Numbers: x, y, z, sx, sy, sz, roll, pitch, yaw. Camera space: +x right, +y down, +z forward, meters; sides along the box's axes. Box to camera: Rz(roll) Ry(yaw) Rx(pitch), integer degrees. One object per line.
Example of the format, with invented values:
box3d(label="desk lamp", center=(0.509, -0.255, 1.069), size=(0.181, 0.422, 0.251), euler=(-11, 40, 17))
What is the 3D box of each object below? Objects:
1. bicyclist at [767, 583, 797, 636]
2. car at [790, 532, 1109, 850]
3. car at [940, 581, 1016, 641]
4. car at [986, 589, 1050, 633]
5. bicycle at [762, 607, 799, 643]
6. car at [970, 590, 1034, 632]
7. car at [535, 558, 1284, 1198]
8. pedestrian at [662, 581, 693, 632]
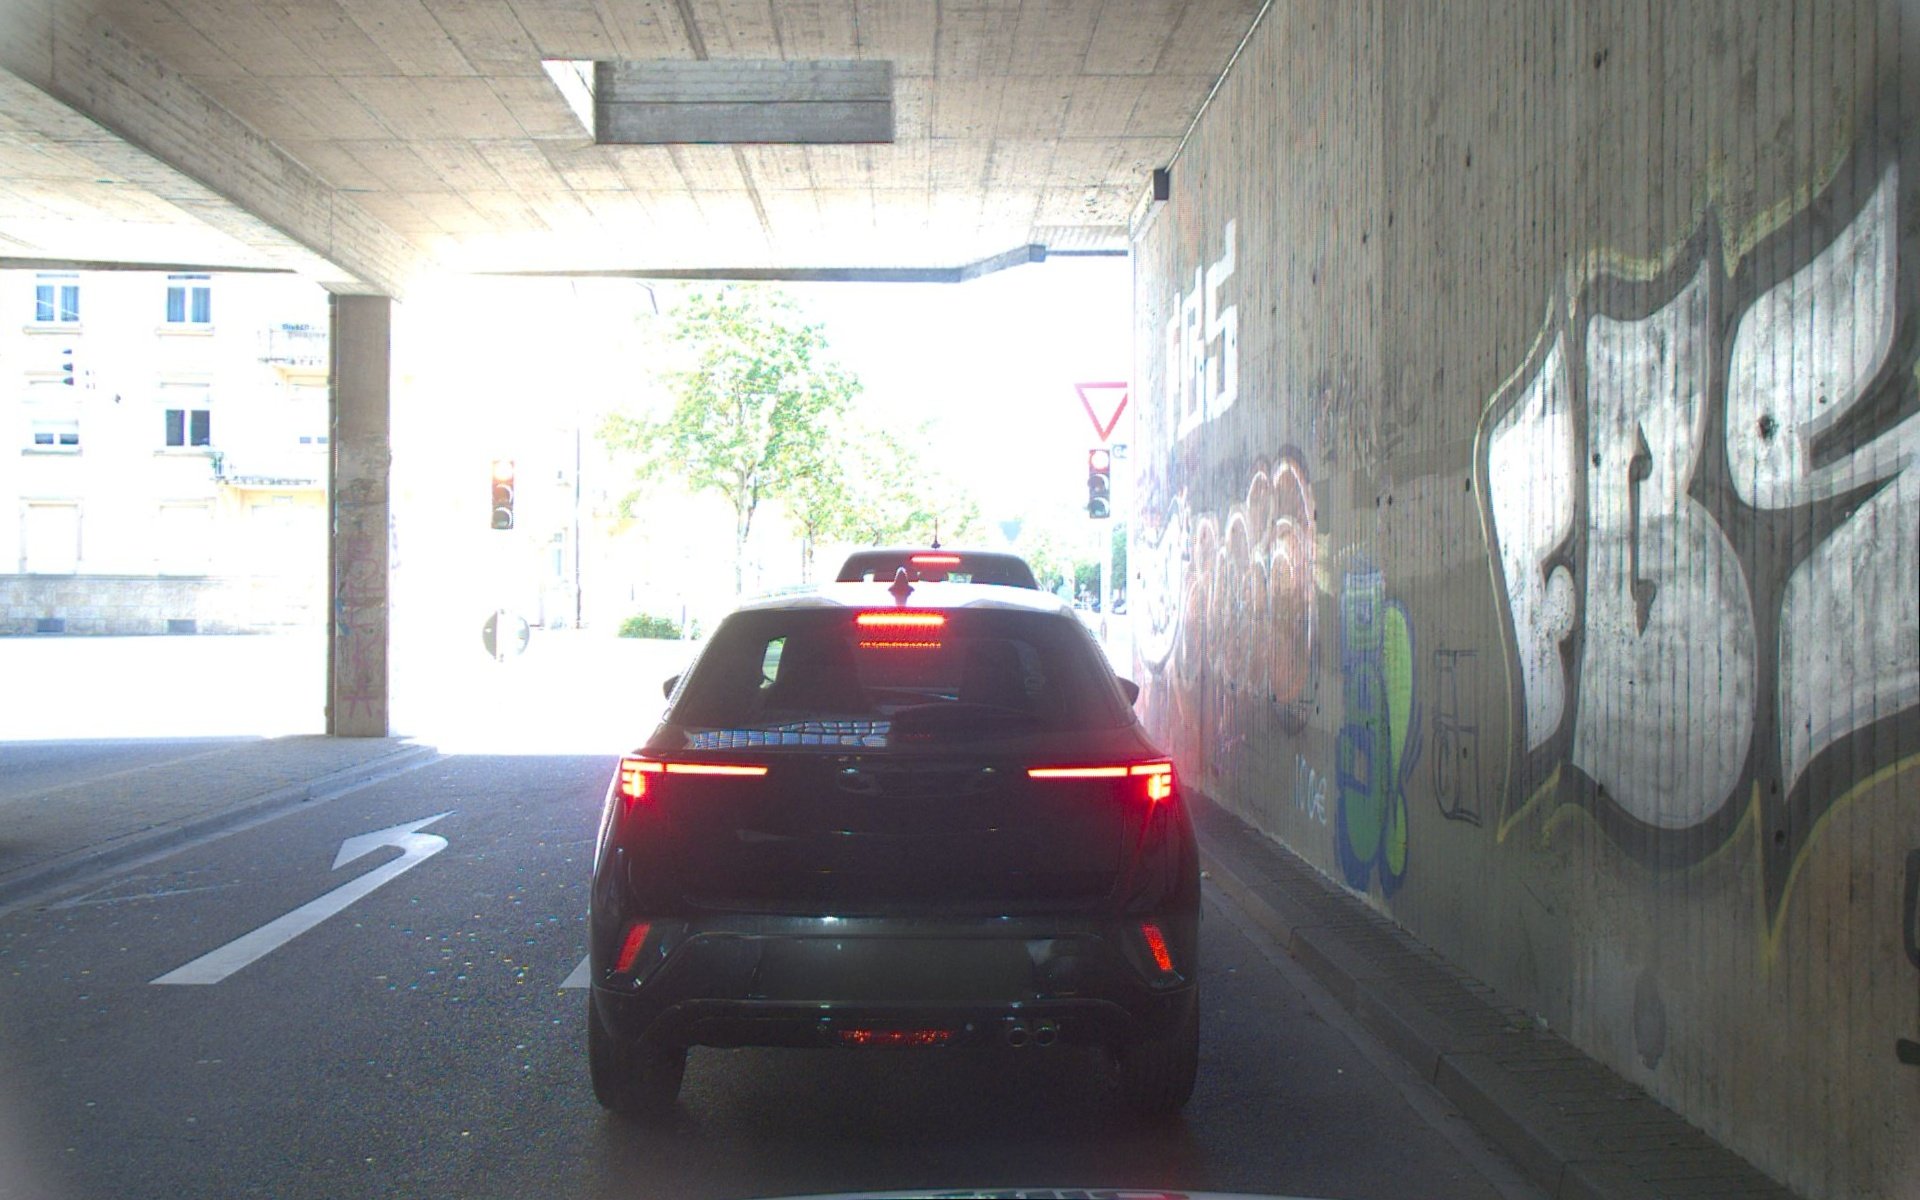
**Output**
box3d(label="bicyclist", center=(-5.542, 0.298, 51.466), size=(0.713, 1.609, 0.815), euler=(1, -1, 9))
box3d(label="car", center=(-0.091, 0.533, 11.896), size=(1.906, 1.892, 3.963), euler=(0, 0, -1))
box3d(label="car", center=(0.495, 0.334, 44.190), size=(1.927, 1.523, 3.896), euler=(0, -1, 1))
box3d(label="car", center=(2.460, 0.481, 69.050), size=(2.173, 1.749, 4.463), euler=(0, -1, 9))
box3d(label="bicycle", center=(-5.561, 0.764, 51.432), size=(0.716, 1.086, 1.690), euler=(1, 0, 9))
box3d(label="car", center=(1.616, 0.439, 62.228), size=(1.926, 1.523, 3.899), euler=(0, -1, 8))
box3d(label="car", center=(-0.149, 0.673, 6.072), size=(1.844, 1.565, 3.963), euler=(0, 0, -1))
box3d(label="pedestrian", center=(-11.471, 0.247, 67.149), size=(0.971, 2.049, 1.089), euler=(0, 0, 7))
